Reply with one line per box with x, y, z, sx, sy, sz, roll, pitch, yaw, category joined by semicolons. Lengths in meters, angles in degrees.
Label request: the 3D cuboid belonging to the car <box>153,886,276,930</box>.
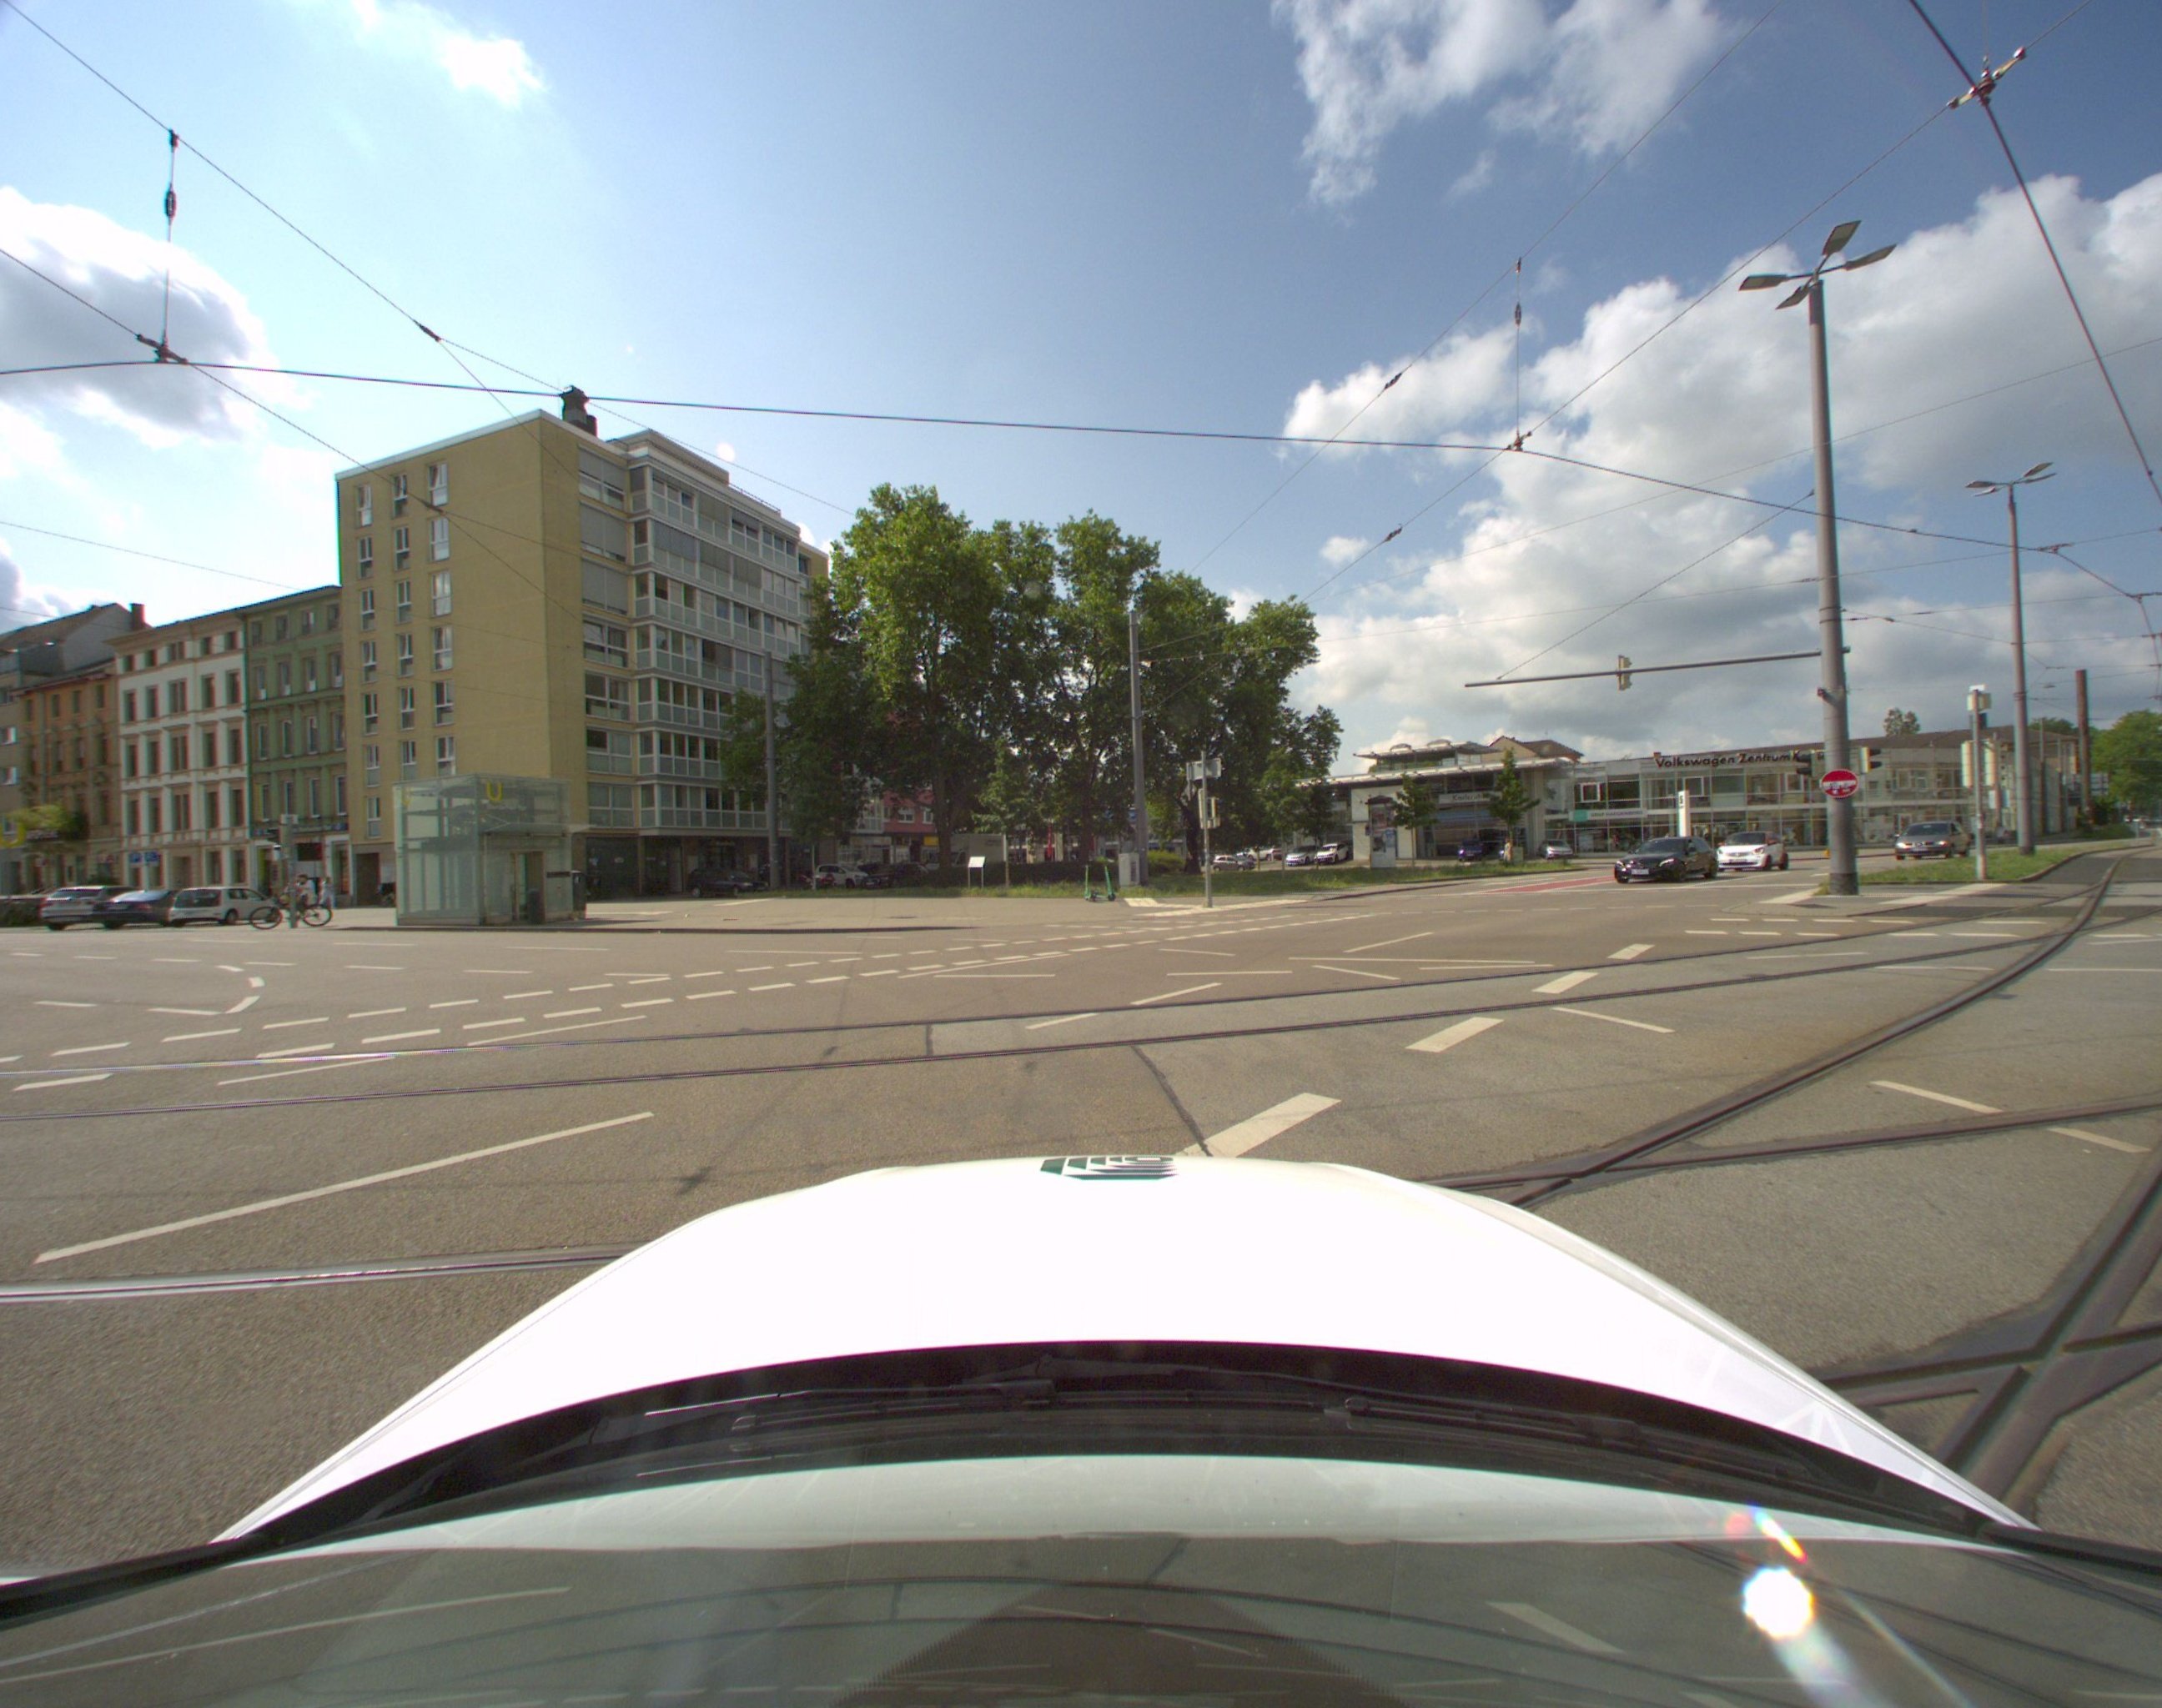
-32.984;2.014;31.138;1.778;1.453;3.474;-2;-1;-19;car

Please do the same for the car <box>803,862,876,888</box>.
-14.953;1.297;50.455;4.048;1.514;1.818;0;0;20;car

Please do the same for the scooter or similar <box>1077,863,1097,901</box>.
0.198;0.898;26.430;0.381;1.196;1.059;0;0;-15;scooter or similar

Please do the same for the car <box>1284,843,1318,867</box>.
19.694;0.064;72.780;1.975;2.013;4.025;1;1;29;car

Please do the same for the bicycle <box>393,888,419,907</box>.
-33.866;2.182;40.848;1.447;0.922;0.295;-1;0;19;bicycle

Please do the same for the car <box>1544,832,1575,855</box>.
35.852;-0.776;61.079;1.910;1.683;4.025;0;1;29;car

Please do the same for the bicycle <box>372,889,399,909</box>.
-34.332;2.226;40.190;1.447;0.922;0.295;-1;0;19;bicycle

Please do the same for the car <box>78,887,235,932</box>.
-35.740;2.096;31.691;1.938;1.460;4.572;-2;-1;-18;car

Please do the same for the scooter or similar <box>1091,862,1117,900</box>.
0.739;0.860;26.437;0.382;1.196;1.056;0;0;-25;scooter or similar

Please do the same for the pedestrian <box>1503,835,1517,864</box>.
30.257;-0.341;57.421;0.799;2.013;0.813;0;0;34;pedestrian

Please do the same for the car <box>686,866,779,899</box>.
-17.354;1.417;40.533;4.047;1.514;1.818;-2;0;20;car

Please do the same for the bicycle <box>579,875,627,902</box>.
-23.246;1.683;39.676;0.472;1.202;2.208;0;0;21;bicycle

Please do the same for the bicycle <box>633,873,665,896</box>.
-22.371;1.555;42.162;0.586;1.129;1.355;0;0;25;bicycle

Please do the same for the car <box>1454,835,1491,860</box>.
30.562;-0.525;63.535;1.974;1.838;4.026;-3;-1;33;car

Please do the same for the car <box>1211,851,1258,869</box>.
13.280;0.511;70.662;3.635;1.487;1.684;1;2;38;car

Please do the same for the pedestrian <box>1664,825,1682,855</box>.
40.326;-0.939;55.495;0.860;2.013;0.708;-2;0;30;pedestrian

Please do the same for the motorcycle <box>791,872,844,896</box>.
-12.317;1.415;38.102;2.294;1.030;0.968;-2;-2;-20;motorcycle

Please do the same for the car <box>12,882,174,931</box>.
-39.413;2.034;32.691;2.062;1.647;4.564;-2;0;-21;car

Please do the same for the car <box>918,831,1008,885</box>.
-7.191;0.211;50.805;1.976;3.043;7.288;-2;0;22;car

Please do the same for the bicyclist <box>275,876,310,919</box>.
-25.316;1.391;26.152;0.788;1.336;0.390;0;0;-42;bicyclist

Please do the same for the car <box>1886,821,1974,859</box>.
38.009;-0.618;36.457;3.750;1.574;1.980;-2;0;-32;car

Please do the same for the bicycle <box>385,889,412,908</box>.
-33.977;2.199;40.546;1.447;0.922;0.295;-1;0;19;bicycle

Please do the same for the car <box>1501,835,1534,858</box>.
33.496;-0.590;62.435;1.974;1.725;4.025;0;1;32;car

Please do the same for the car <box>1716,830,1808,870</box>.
26.384;-0.164;31.542;3.669;1.470;1.674;0;0;-32;car

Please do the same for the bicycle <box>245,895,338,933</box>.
-25.309;1.910;26.165;2.111;1.106;0.538;0;0;-42;bicycle

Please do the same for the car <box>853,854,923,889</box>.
-10.340;0.902;43.974;1.979;1.706;4.015;-2;0;14;car

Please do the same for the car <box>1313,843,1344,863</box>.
21.785;-0.096;71.559;1.768;1.682;4.025;-2;0;29;car

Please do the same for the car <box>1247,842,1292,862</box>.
18.904;-0.207;81.693;3.950;2.013;2.012;0;1;43;car

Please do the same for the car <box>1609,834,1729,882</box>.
19.056;0.102;26.374;3.956;1.376;1.851;-2;0;-34;car
